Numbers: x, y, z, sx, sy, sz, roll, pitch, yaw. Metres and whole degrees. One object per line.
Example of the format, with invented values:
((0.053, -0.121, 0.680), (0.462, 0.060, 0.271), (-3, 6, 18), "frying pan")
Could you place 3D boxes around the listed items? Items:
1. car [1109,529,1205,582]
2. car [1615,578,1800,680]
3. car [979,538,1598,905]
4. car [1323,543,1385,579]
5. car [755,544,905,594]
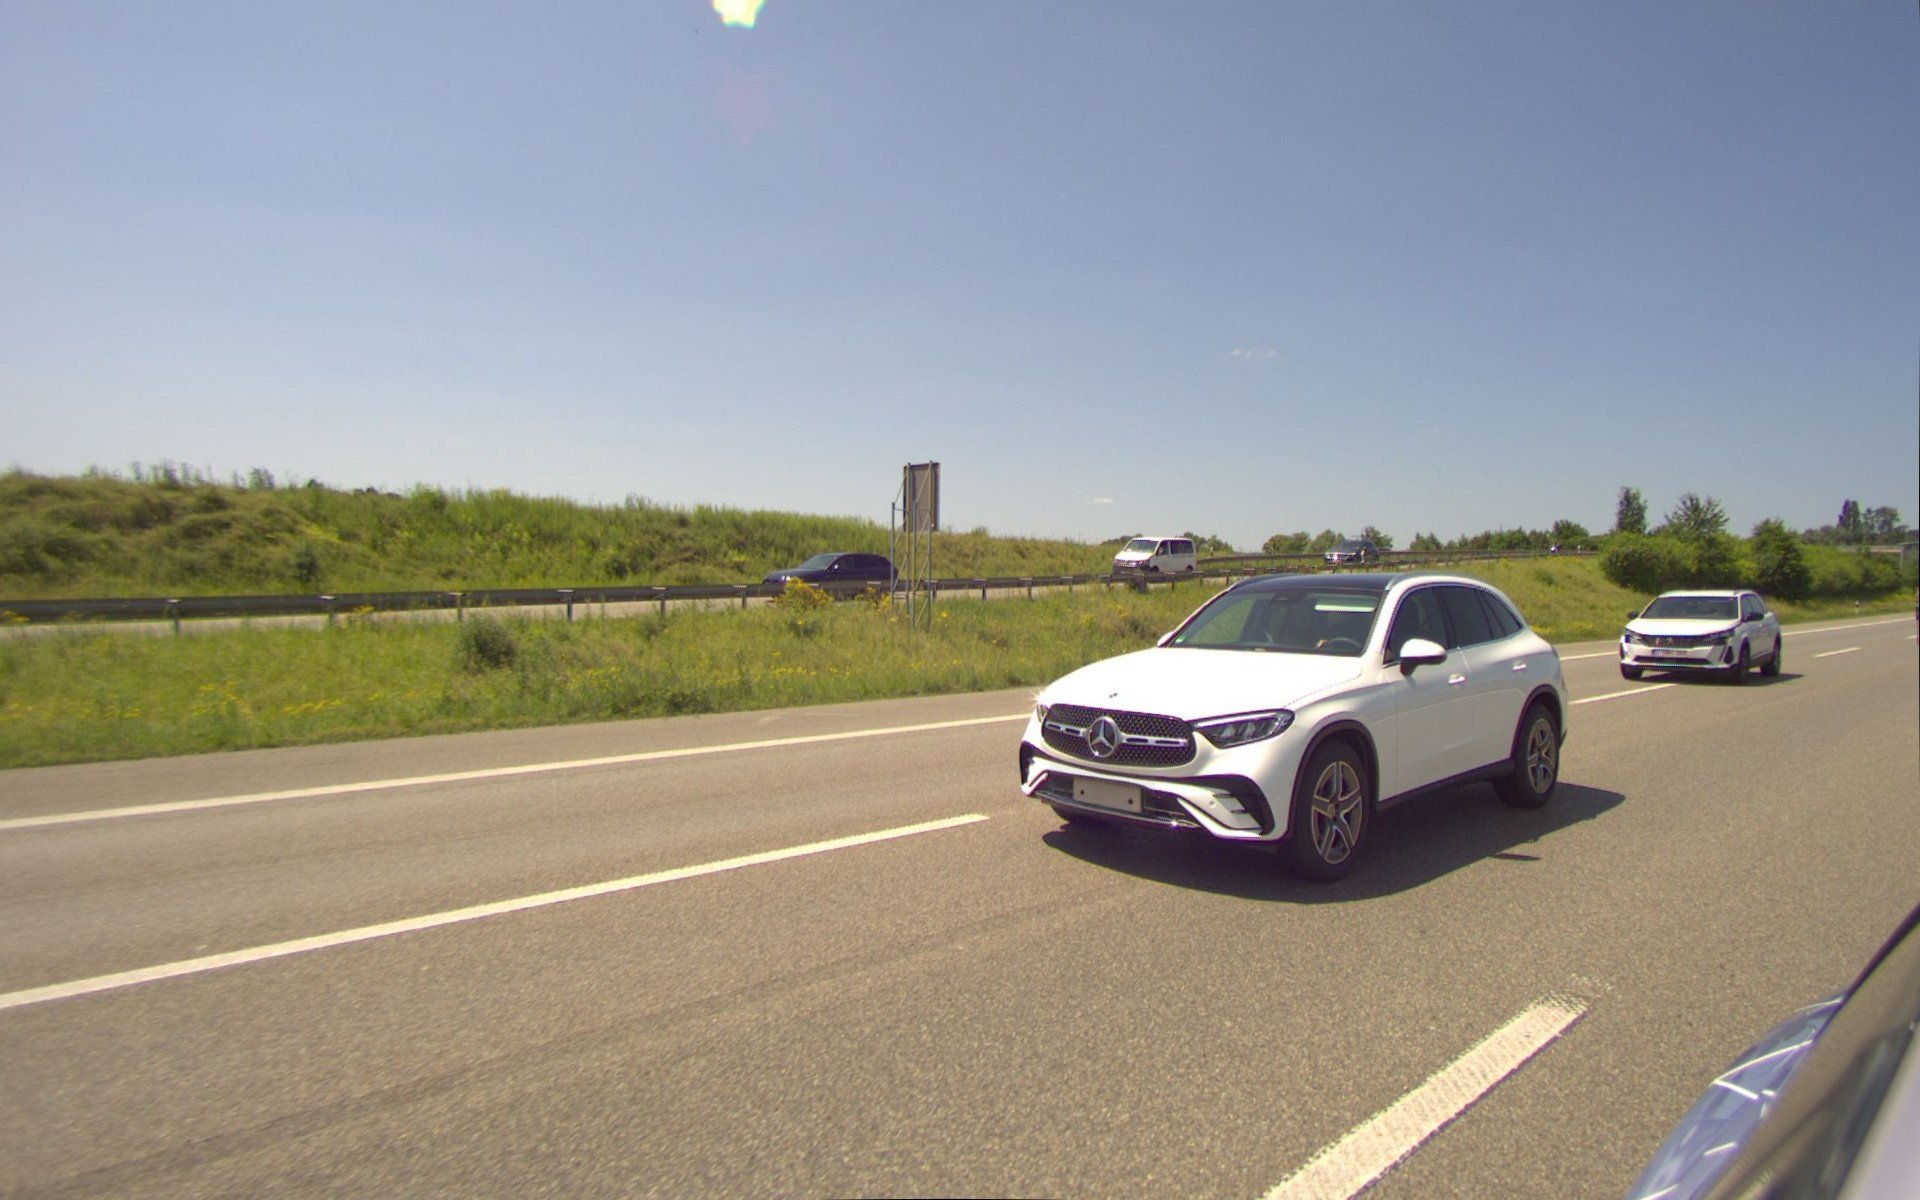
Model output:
((8.776, -1.895, 44.852), (1.992, 2.199, 4.819), (1, 1, 42), "car")
((14.058, 0.446, 18.927), (4.538, 1.650, 1.896), (-2, 1, -42), "car")
((2.457, 0.528, 6.843), (4.556, 1.677, 1.908), (-1, 0, -41), "car")
((23.599, -2.329, 60.542), (3.935, 2.039, 1.994), (-2, 1, -44), "car")
((-3.858, -0.906, 30.573), (1.993, 1.400, 4.231), (1, 1, 42), "car")
